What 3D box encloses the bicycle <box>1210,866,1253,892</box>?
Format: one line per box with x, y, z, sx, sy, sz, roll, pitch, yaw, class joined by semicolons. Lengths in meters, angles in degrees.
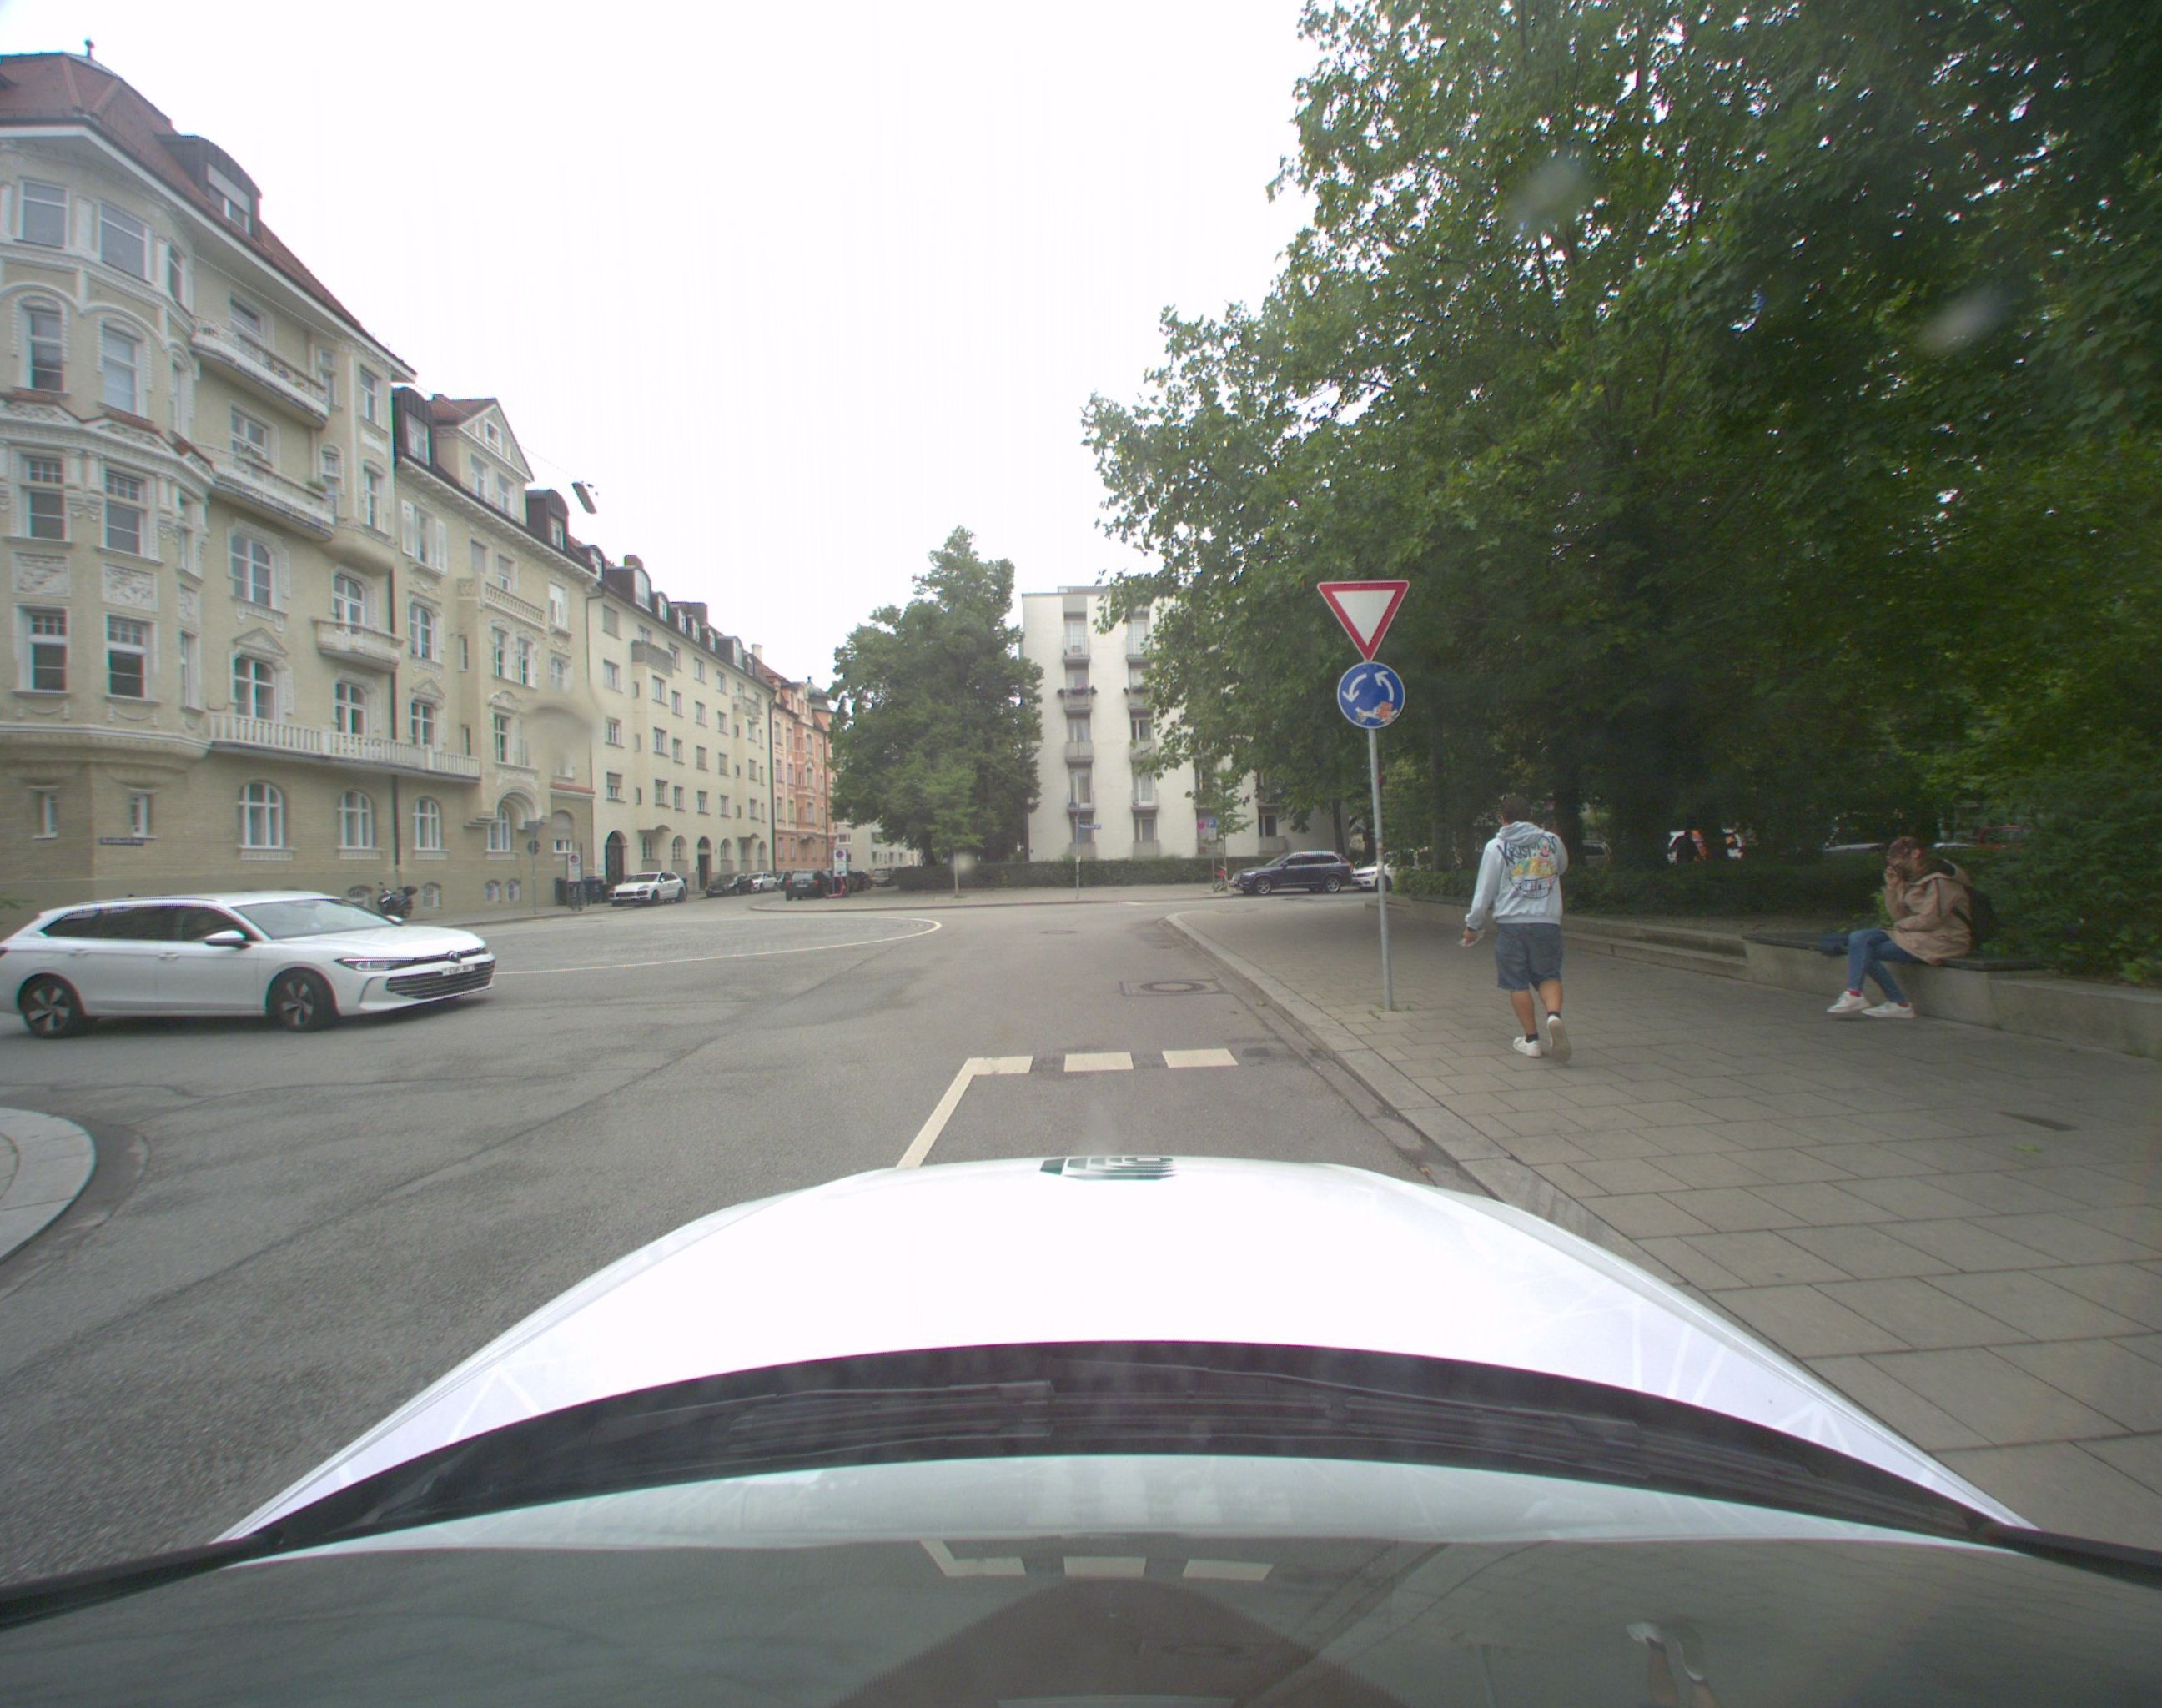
6.746;1.114;36.454;1.827;1.049;0.489;-2;-1;-14;bicycle

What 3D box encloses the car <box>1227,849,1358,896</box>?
8.830;0.771;34.159;4.893;1.792;1.994;-2;-2;-8;car

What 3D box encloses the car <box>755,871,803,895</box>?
-22.635;2.156;61.212;1.970;1.581;4.405;-1;-1;-1;car

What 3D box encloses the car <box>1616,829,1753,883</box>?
27.696;0.102;37.452;5.226;2.273;1.946;-1;-2;-10;car

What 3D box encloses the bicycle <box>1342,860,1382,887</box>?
12.758;0.881;37.030;0.539;1.149;1.813;-1;-1;-30;bicycle

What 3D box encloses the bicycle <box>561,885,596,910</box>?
-23.521;2.023;38.167;0.561;1.049;1.828;-2;-1;-3;bicycle

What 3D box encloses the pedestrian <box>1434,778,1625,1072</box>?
2.970;0.440;5.528;0.867;1.771;1.056;-2;-1;16;pedestrian

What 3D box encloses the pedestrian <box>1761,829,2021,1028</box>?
5.931;0.520;6.042;1.005;1.338;0.877;-2;-1;4;pedestrian

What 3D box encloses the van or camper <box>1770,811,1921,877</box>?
36.481;-0.471;38.923;5.991;2.945;2.000;-1;-2;-10;van or camper

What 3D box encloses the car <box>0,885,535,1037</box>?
-9.432;1.185;9.549;4.852;1.448;1.893;-2;-1;4;car

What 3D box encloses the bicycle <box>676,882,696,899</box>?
-26.623;2.476;54.912;0.561;1.049;1.828;-2;-1;-3;bicycle

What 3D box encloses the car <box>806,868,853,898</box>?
-14.166;1.607;46.125;1.792;1.505;4.223;-3;0;-8;car

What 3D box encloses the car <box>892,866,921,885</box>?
-16.649;1.996;77.728;1.829;1.634;3.819;-3;0;0;car

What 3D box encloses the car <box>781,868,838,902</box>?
-13.552;1.510;40.910;1.817;1.505;4.410;-3;0;-8;car

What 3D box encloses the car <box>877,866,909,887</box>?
-16.589;1.950;72.063;1.830;1.634;4.112;-3;0;-2;car

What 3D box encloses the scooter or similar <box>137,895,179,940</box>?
-24.942;1.699;22.016;0.469;1.115;1.202;-1;-1;-35;scooter or similar

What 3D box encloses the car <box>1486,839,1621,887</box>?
20.876;0.422;36.044;5.195;1.933;1.885;-1;-2;-12;car

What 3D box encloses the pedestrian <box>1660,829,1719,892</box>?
18.131;0.190;24.267;1.048;1.831;0.874;-2;-1;-9;pedestrian

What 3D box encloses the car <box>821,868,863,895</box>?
-14.828;1.700;50.657;1.792;1.505;4.104;-3;0;-8;car

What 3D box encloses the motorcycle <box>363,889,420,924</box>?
-25.381;1.921;30.029;0.597;1.176;1.828;-2;-1;-3;motorcycle

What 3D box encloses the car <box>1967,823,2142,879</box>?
35.316;-0.102;29.596;4.699;1.839;1.990;-1;-2;-11;car

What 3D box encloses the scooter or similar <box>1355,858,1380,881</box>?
15.177;0.817;43.151;1.209;1.193;0.399;-1;-1;-5;scooter or similar

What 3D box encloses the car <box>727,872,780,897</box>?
-22.467;2.061;56.052;1.970;1.581;4.405;-1;-1;-1;car

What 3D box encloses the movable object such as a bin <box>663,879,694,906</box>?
-22.317;2.119;45.139;1.088;1.425;1.173;-2;-1;-1;movable object such as a bin

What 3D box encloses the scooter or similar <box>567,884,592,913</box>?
-21.814;1.934;35.418;1.199;1.193;0.470;-2;-1;36;scooter or similar

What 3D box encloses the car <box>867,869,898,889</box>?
-16.380;2.028;67.457;1.833;1.505;4.106;-3;0;-6;car

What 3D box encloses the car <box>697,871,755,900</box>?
-22.214;1.954;51.180;1.973;1.616;4.702;-1;-1;-6;car

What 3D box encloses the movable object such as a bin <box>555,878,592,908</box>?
-25.461;1.933;40.856;1.088;1.425;1.173;-2;-1;-1;movable object such as a bin

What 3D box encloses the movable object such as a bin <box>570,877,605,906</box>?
-25.475;1.939;42.053;1.088;1.425;1.173;-2;-1;-1;movable object such as a bin

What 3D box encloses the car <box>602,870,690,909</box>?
-21.577;1.708;40.649;1.971;1.701;4.834;-1;-1;-3;car

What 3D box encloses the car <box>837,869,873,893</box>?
-15.602;1.819;56.385;1.792;1.505;4.104;-3;0;-8;car

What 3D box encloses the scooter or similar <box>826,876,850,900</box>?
-11.404;1.605;38.288;1.005;1.088;0.387;-1;-1;-31;scooter or similar

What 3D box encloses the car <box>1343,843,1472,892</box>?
13.985;0.595;35.007;4.831;1.918;1.830;-1;-2;-9;car
